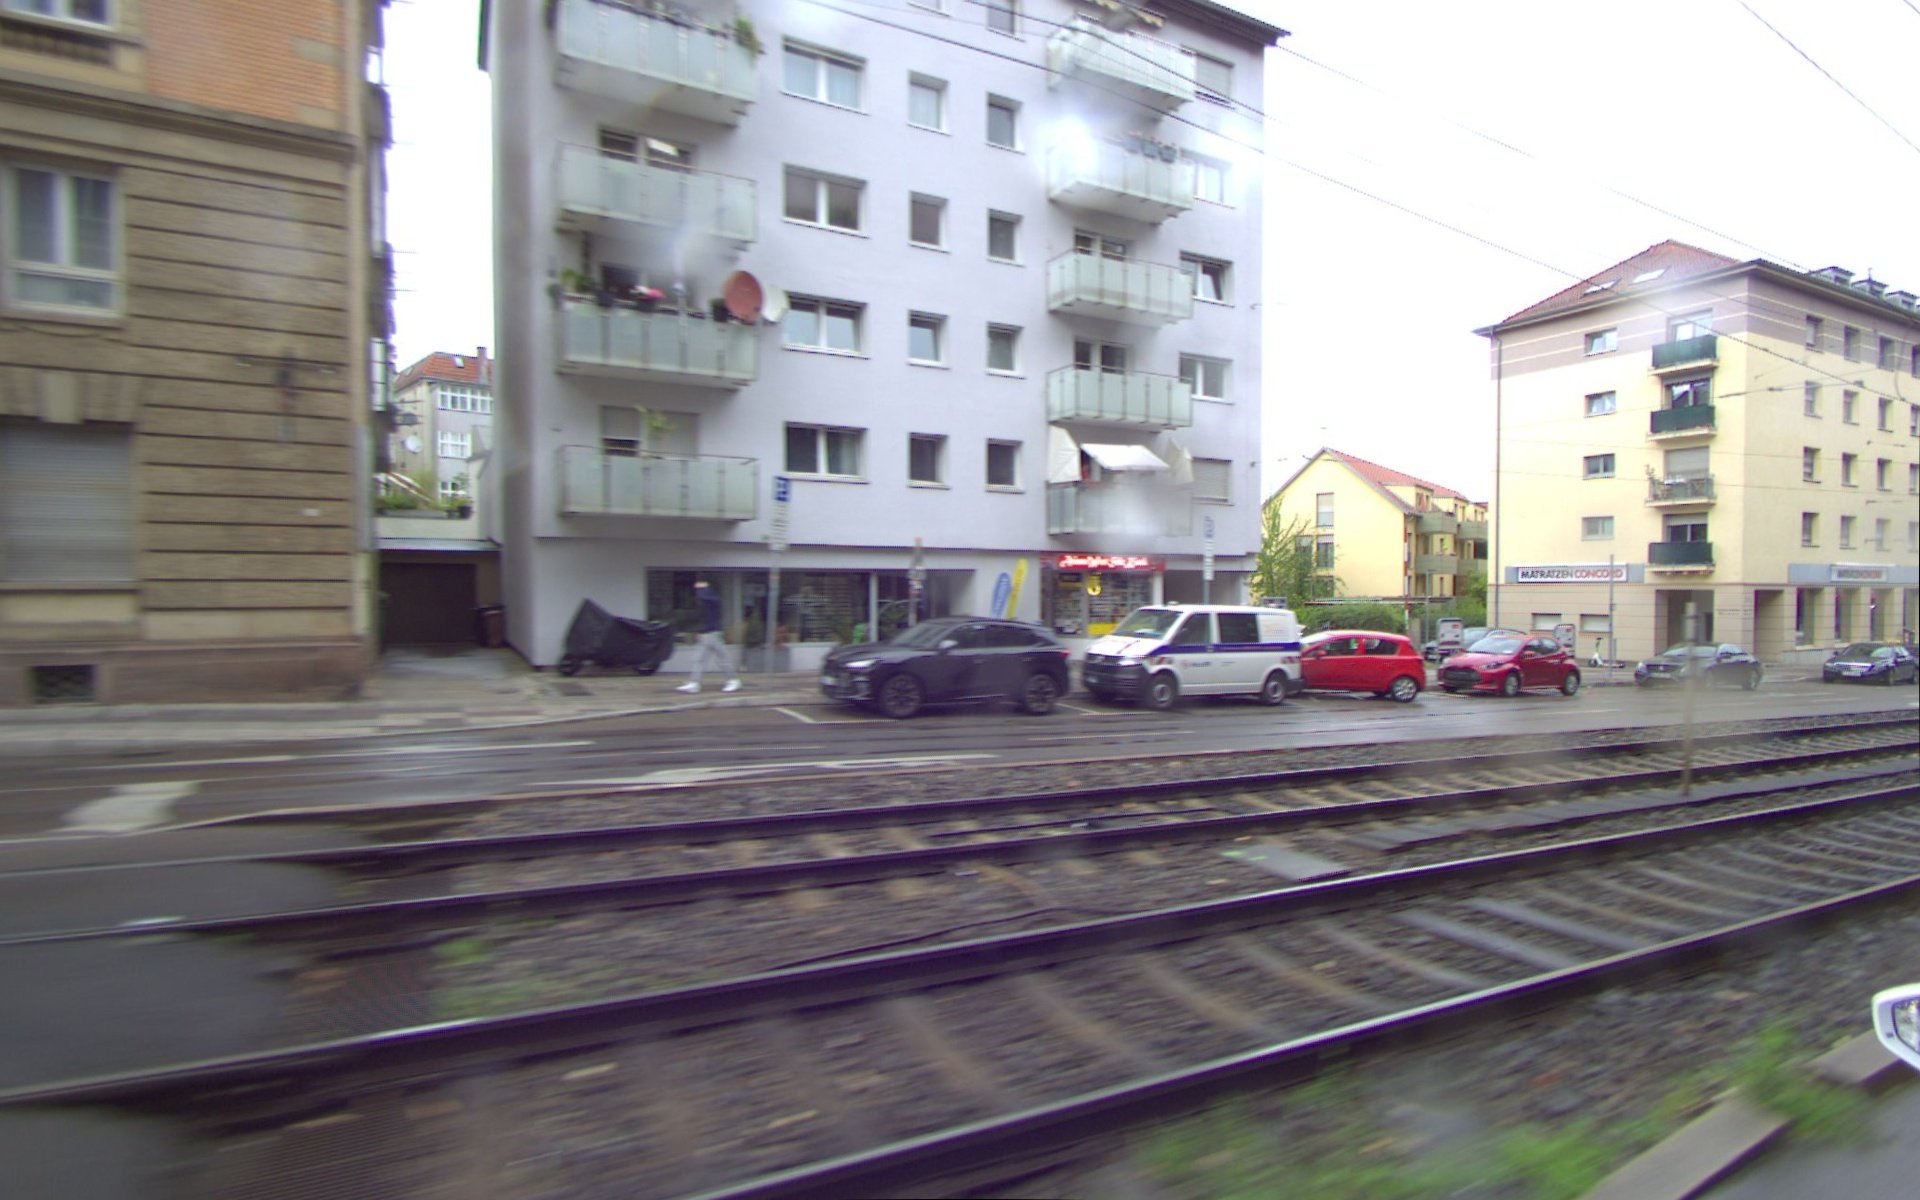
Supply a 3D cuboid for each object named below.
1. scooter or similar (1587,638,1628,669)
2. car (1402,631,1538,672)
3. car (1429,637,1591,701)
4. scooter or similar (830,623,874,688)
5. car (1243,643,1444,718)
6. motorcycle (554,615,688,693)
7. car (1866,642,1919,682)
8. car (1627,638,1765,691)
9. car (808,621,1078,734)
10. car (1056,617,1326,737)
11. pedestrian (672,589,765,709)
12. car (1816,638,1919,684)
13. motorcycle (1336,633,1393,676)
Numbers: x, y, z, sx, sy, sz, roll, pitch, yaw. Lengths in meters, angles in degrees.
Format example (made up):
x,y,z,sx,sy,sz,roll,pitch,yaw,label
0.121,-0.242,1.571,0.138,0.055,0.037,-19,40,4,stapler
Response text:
x,y,z,sx,sy,sz,roll,pitch,yaw,label
25.178,2.054,39.082,0.375,1.127,1.282,1,0,-35,scooter or similar
17.876,1.774,35.216,4.414,1.321,1.867,1,-1,-23,car
13.886,1.709,25.339,4.022,1.470,1.647,2,-1,-28,car
-2.382,1.211,22.153,0.314,1.225,1.080,2,7,-40,scooter or similar
8.599,1.794,22.807,3.902,1.453,1.786,1,0,5,car
-6.502,1.017,19.305,2.281,1.394,0.924,1,2,-30,motorcycle
37.940,2.435,39.612,4.774,1.451,1.843,2,0,-30,car
21.854,1.886,29.788,4.569,1.414,1.671,2,-1,-31,car
-0.246,1.251,17.132,4.312,1.673,1.724,2,0,-30,car
4.688,1.434,20.187,5.238,2.036,2.060,1,2,-30,car
-4.147,0.813,17.221,1.167,1.954,1.163,1,0,-37,pedestrian
33.221,2.201,36.667,4.942,1.528,1.839,2,-1,-35,car
12.440,1.669,30.885,1.764,1.216,0.636,3,2,-31,motorcycle
